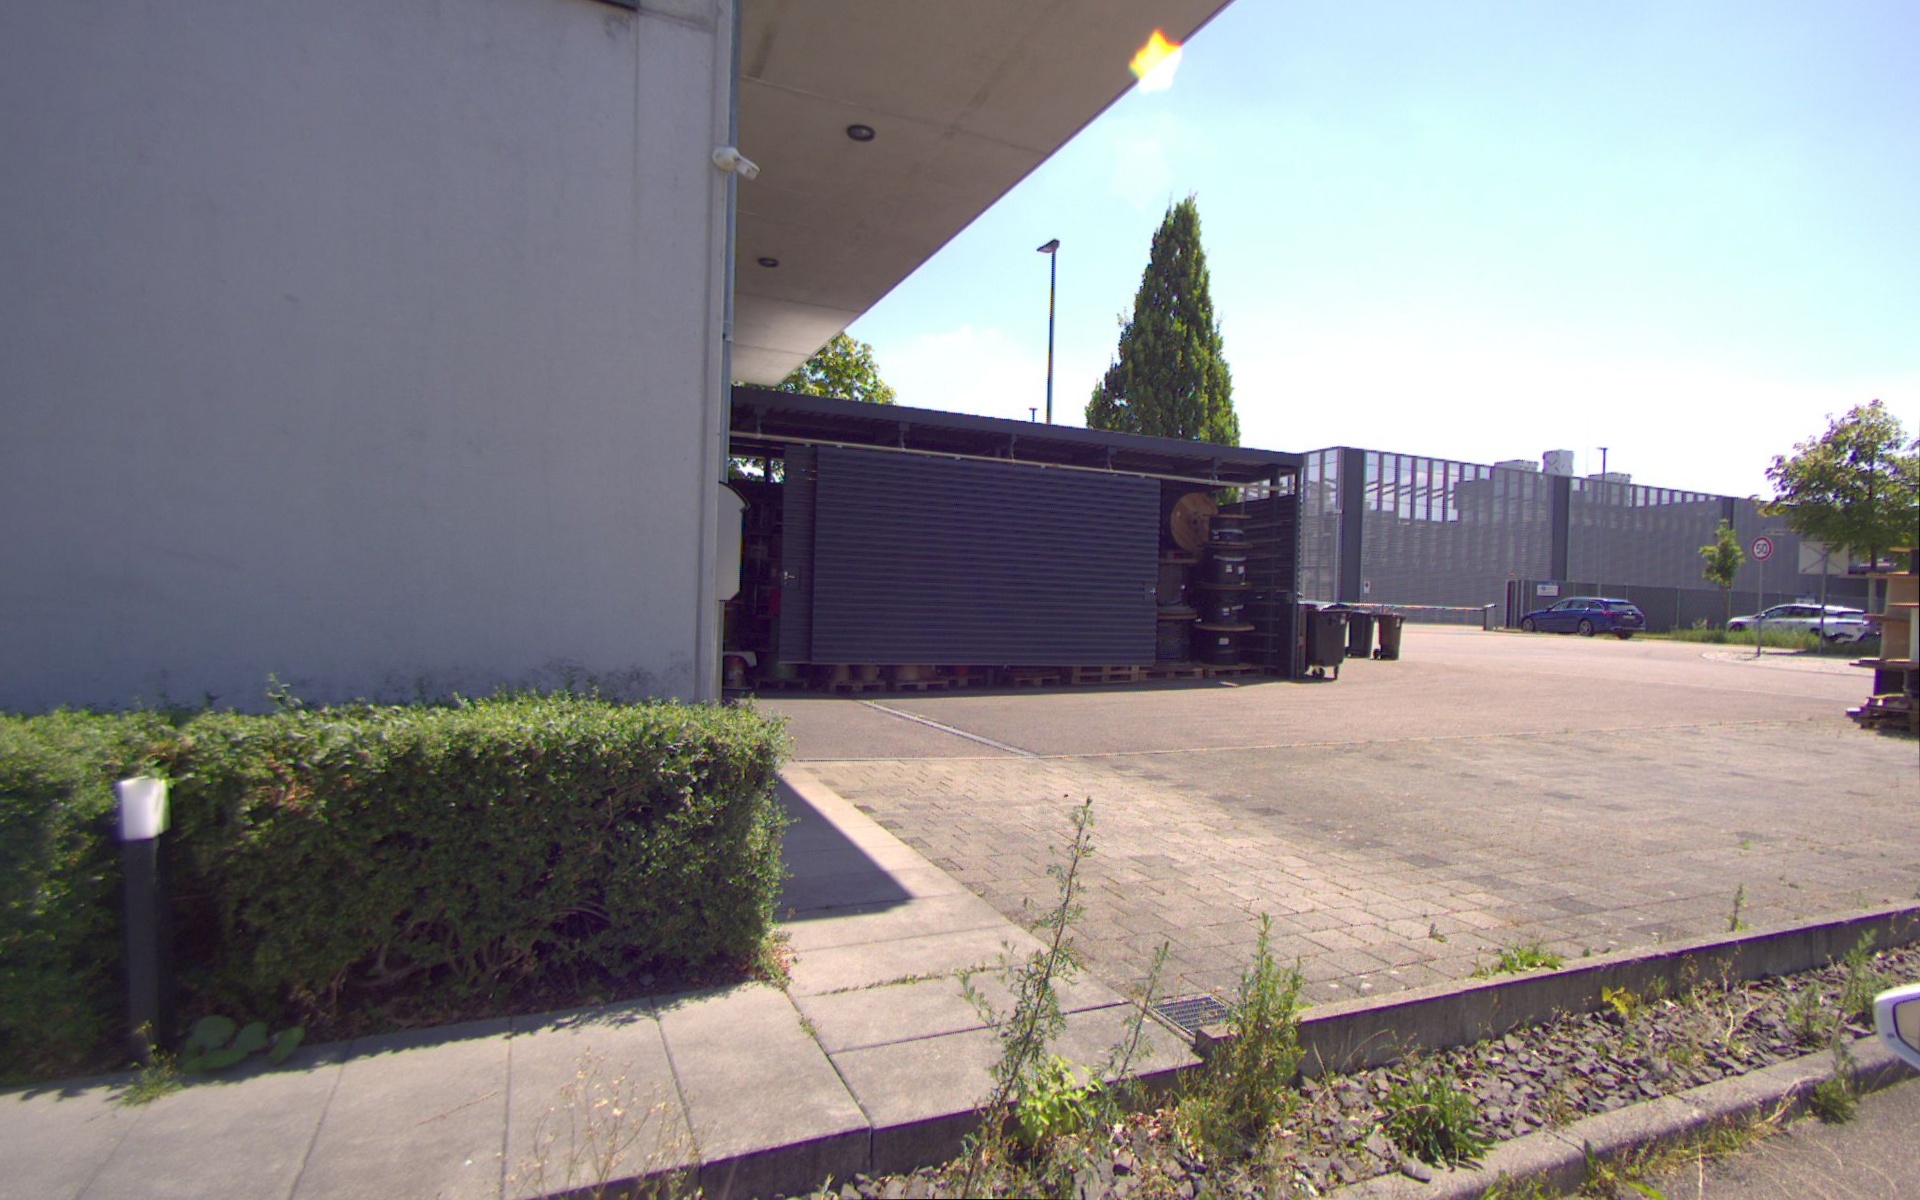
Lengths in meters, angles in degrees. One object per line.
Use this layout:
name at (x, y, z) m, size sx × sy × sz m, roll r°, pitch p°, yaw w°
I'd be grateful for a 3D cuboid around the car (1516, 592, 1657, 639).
car at (23.366, 0.535, 37.682) m, size 1.964 × 1.512 × 4.506 m, roll 1°, pitch 2°, yaw -10°

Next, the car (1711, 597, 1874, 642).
car at (32.776, 0.719, 39.760) m, size 1.964 × 1.512 × 4.845 m, roll 1°, pitch 2°, yaw -10°

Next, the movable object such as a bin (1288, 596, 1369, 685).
movable object such as a bin at (5.897, 0.635, 16.094) m, size 0.870 × 1.363 × 0.810 m, roll 1°, pitch 1°, yaw -19°

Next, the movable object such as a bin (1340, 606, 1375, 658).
movable object such as a bin at (8.109, 0.645, 20.495) m, size 0.572 × 1.041 × 0.424 m, roll 2°, pitch 1°, yaw 33°

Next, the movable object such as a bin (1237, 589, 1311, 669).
movable object such as a bin at (5.440, 0.496, 17.408) m, size 0.958 × 1.347 × 0.707 m, roll 1°, pitch 1°, yaw -19°

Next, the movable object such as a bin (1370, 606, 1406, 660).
movable object such as a bin at (8.598, 0.653, 20.169) m, size 0.568 × 1.050 × 0.424 m, roll 2°, pitch 1°, yaw 33°
